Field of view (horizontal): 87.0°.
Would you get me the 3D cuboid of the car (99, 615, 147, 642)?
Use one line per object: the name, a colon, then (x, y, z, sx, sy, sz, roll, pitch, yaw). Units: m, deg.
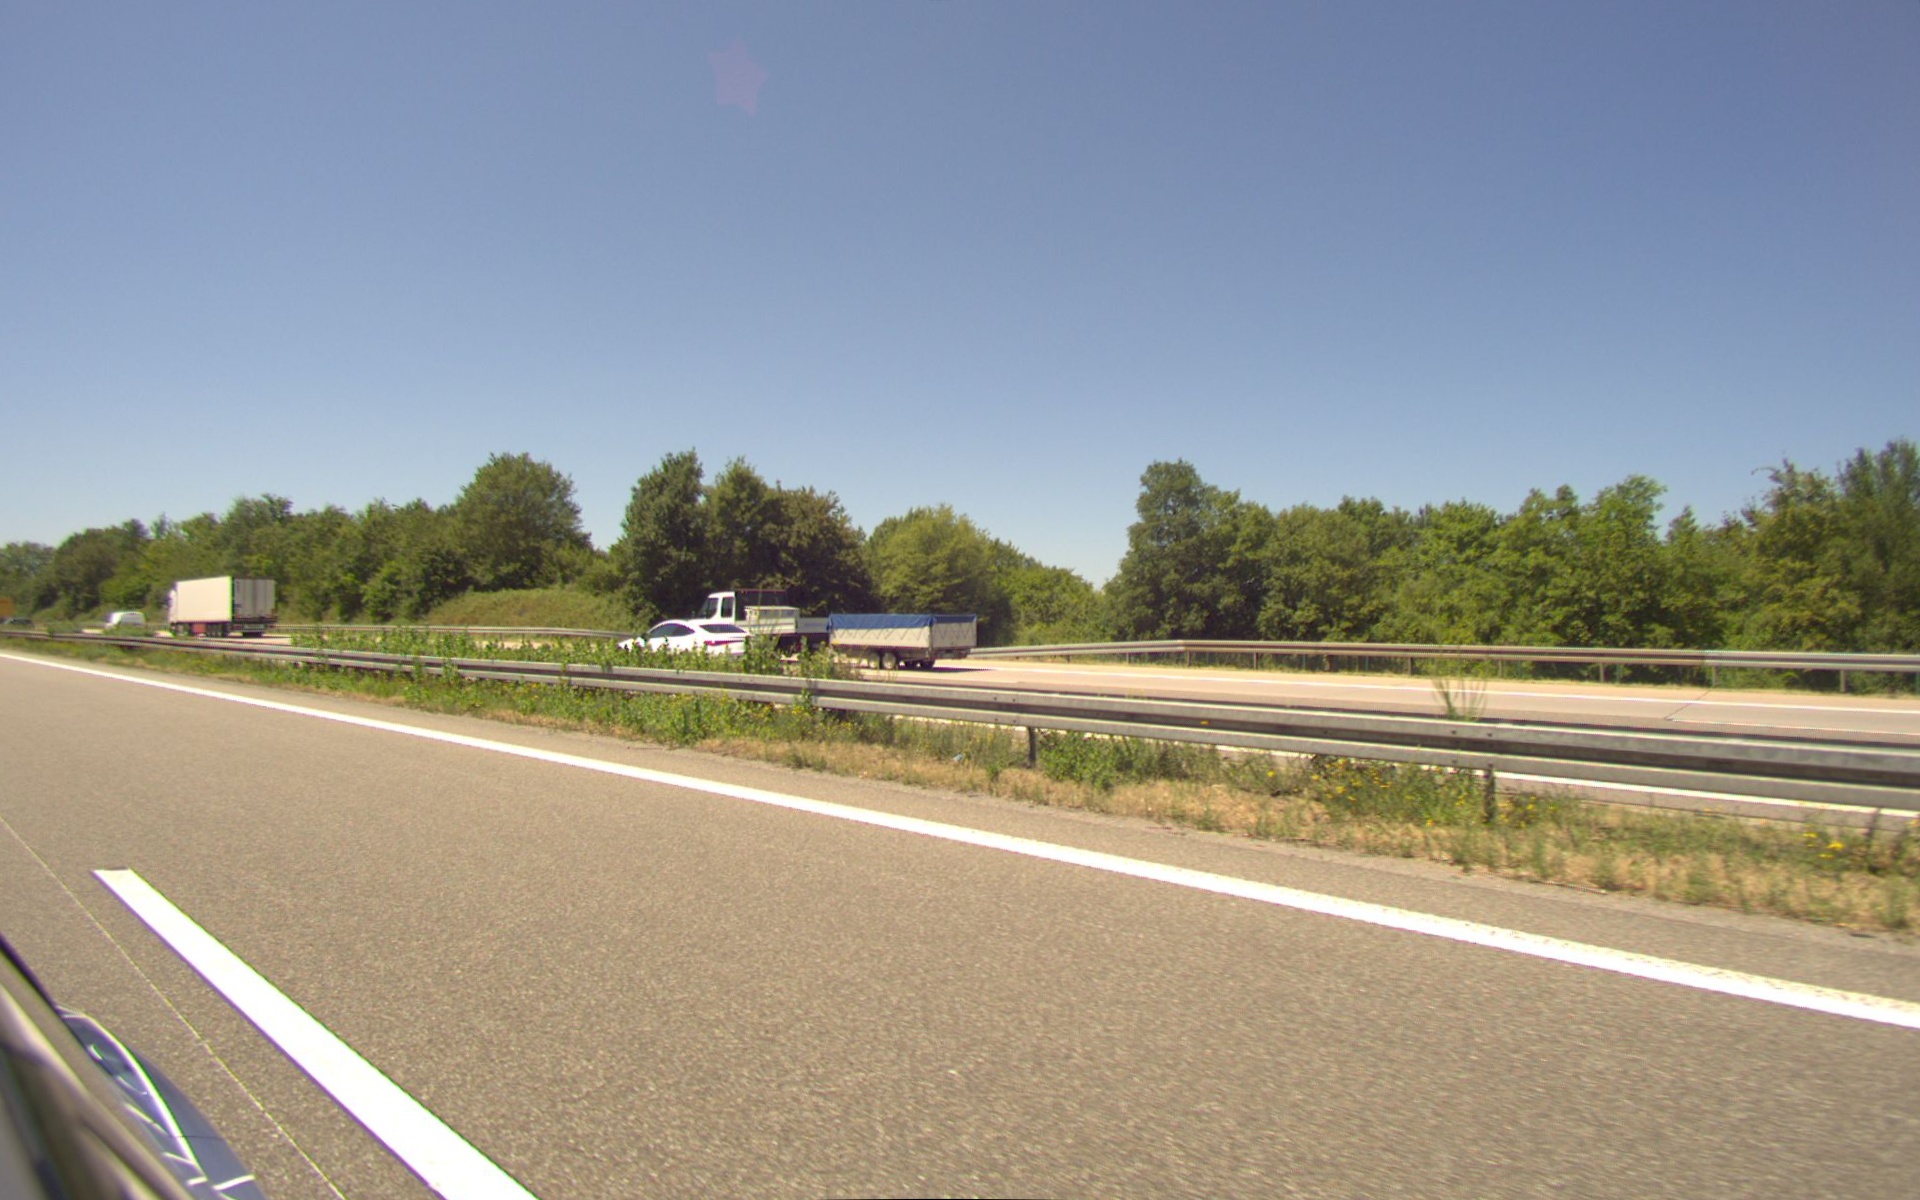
car: (-60.437, 2.032, 73.028, 4.874, 1.890, 1.797, -1, -1, 40)

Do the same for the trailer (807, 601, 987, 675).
trailer: (-1.813, 1.009, 27.751, 4.987, 1.850, 2.007, -1, -1, 41)

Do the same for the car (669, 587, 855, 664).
car: (-6.332, 0.789, 31.709, 6.538, 2.189, 2.220, -1, -1, 41)

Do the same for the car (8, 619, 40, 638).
car: (-70.324, 2.130, 76.038, 3.454, 1.438, 1.360, -1, -1, 41)

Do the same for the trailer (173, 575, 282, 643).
trailer: (-51.312, 0.686, 70.665, 13.581, 4.395, 3.277, -1, -1, 41)

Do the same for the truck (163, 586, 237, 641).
truck: (-56.488, 0.997, 75.214, 6.098, 3.981, 3.227, -1, -1, 41)

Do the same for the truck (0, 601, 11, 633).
truck: (-124.656, 2.168, 130.001, 10.783, 4.071, 2.722, 0, 0, 40)

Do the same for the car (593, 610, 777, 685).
car: (-6.651, 1.065, 24.175, 5.007, 1.608, 1.793, -1, -1, 41)
